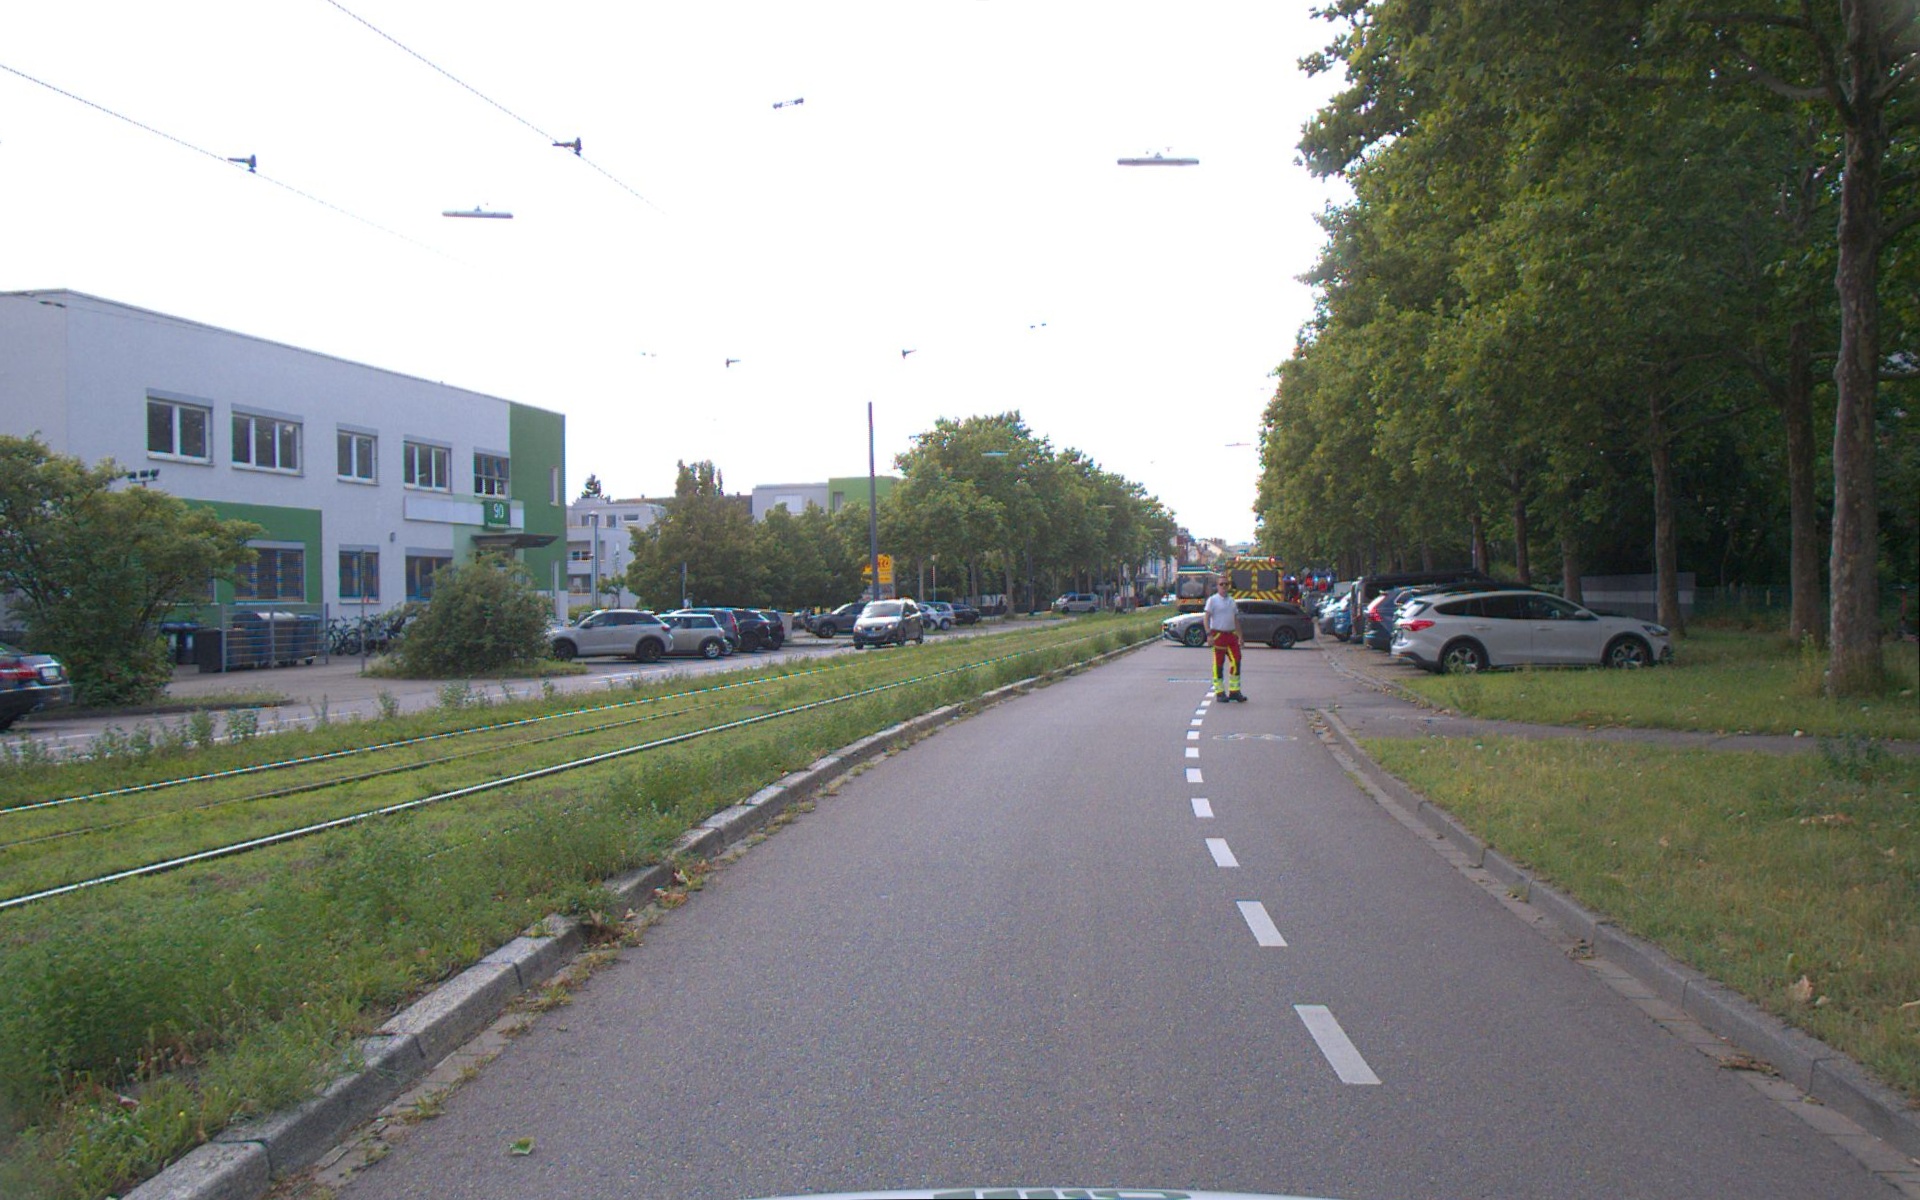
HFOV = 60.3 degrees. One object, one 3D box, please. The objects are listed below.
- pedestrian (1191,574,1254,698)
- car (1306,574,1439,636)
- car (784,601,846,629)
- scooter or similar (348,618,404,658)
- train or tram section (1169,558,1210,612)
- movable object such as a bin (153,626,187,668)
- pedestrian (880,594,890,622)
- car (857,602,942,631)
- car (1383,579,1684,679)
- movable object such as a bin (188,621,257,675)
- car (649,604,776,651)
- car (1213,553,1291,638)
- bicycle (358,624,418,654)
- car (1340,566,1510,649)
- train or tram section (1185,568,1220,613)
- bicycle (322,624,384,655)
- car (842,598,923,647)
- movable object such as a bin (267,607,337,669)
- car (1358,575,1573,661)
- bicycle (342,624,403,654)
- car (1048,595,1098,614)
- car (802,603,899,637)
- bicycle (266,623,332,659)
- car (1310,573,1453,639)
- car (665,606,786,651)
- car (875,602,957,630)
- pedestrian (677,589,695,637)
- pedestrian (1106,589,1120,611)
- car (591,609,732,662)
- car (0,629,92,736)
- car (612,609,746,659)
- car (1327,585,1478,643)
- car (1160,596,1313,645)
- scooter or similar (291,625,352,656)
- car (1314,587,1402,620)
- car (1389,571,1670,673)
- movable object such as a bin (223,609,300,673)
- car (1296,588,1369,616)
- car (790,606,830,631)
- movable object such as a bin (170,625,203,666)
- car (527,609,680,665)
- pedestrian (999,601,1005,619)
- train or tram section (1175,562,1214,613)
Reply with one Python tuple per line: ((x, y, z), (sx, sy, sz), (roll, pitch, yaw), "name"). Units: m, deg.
((3.717, 0.501, 23.469), (0.786, 1.716, 0.851), (0, 0, 3), "pedestrian")
((15.055, 0.201, 60.569), (4.449, 2.079, 1.857), (-2, 0, 7), "car")
((-9.688, 1.015, 110.442), (3.930, 1.780, 1.987), (1, 0, 43), "car")
((-17.454, 1.133, 49.432), (1.283, 1.176, 1.088), (0, -1, 40), "scooter or similar")
((16.711, -1.000, 119.991), (2.458, 3.647, 7.451), (-3, -1, 11), "train or tram section")
((-20.704, 1.226, 43.351), (0.556, 1.060, 0.565), (0, 1, 12), "movable object such as a bin")
((-4.665, 0.514, 103.192), (0.456, 1.706, 0.604), (-1, 0, 9), "pedestrian")
((-3.234, 0.868, 88.104), (4.167, 1.508, 1.869), (0, 0, -25), "car")
((9.711, 0.479, 28.331), (4.559, 1.499, 1.849), (-2, 0, 7), "car")
((-18.111, 1.169, 40.616), (0.984, 1.255, 1.257), (0, 1, 13), "movable object such as a bin")
((-8.684, 0.943, 58.006), (4.156, 1.508, 1.874), (-2, 0, -18), "car")
((11.247, -0.160, 63.410), (2.585, 3.018, 6.304), (2, 0, 13), "car")
((-18.345, 1.242, 53.064), (1.818, 0.915, 0.459), (1, -1, 12), "bicycle")
((13.170, 0.208, 47.131), (4.448, 2.160, 1.857), (-2, -1, 11), "car")
((20.840, -0.738, 141.896), (2.458, 3.647, 7.451), (-3, -1, 11), "train or tram section")
((-18.724, 1.218, 51.052), (1.818, 0.915, 0.459), (1, -1, 12), "bicycle")
((-2.777, 0.791, 60.106), (1.951, 1.585, 4.374), (-2, 0, 10), "car")
((-17.399, 0.985, 43.773), (0.984, 1.546, 1.606), (0, 1, 13), "movable object such as a bin")
((10.844, 0.397, 35.764), (4.287, 1.668, 1.757), (-2, 0, 13), "car")
((-18.528, 1.231, 52.181), (1.818, 0.915, 0.459), (1, -1, 12), "bicycle")
((11.091, 0.445, 162.581), (4.560, 1.661, 1.866), (-1, 0, -28), "car")
((-4.992, 0.891, 75.149), (4.149, 1.508, 1.877), (0, 0, -14), "car")
((-19.209, 1.183, 48.067), (1.818, 1.003, 0.459), (1, -1, 12), "bicycle")
((14.226, 0.218, 56.045), (4.449, 2.036, 1.857), (-2, 0, 7), "car")
((-8.671, 1.038, 61.073), (4.156, 1.508, 1.874), (-2, 0, -18), "car")
((-2.422, 0.870, 91.035), (4.167, 1.508, 1.869), (0, 0, -25), "car")
((-10.710, 0.495, 64.700), (0.534, 1.860, 0.509), (-1, 0, 9), "pedestrian")
((10.780, 0.007, 116.660), (0.862, 1.552, 0.751), (1, -1, 11), "pedestrian")
((-9.428, 1.088, 52.254), (4.156, 1.508, 1.874), (-2, 0, -18), "car")
((-14.844, 1.198, 22.949), (4.550, 1.432, 1.879), (-2, -1, -9), "car")
((-9.339, 1.106, 54.988), (4.156, 1.508, 1.874), (-2, 0, -18), "car")
((14.255, 0.461, 53.448), (4.449, 1.689, 1.857), (-2, 0, 7), "car")
((8.391, 0.621, 50.390), (4.362, 1.410, 1.766), (1, 0, 0), "car")
((-19.141, 1.214, 49.578), (1.698, 0.915, 0.459), (1, -1, 12), "scooter or similar")
((21.623, 0.205, 90.067), (4.449, 1.636, 1.857), (-2, 0, 7), "car")
((10.392, 0.395, 30.482), (4.559, 1.654, 1.849), (-2, 0, 7), "car")
((-17.767, 1.023, 42.115), (0.984, 1.546, 1.713), (0, 1, 13), "movable object such as a bin")
((24.308, 0.145, 107.993), (4.449, 1.636, 1.857), (-2, 0, 7), "car")
((-11.348, 1.374, 125.534), (1.951, 1.780, 4.004), (1, 0, 11), "car")
((-20.577, 1.214, 44.003), (0.556, 1.060, 0.565), (0, 1, 12), "movable object such as a bin")
((-10.602, 1.075, 49.163), (4.164, 1.508, 1.870), (-2, 0, -23), "car")
((3.479, 0.821, 137.269), (0.412, 1.499, 0.468), (-1, 0, 7), "pedestrian")
((18.081, -0.913, 127.302), (2.458, 3.647, 7.451), (-3, -1, 11), "train or tram section")
